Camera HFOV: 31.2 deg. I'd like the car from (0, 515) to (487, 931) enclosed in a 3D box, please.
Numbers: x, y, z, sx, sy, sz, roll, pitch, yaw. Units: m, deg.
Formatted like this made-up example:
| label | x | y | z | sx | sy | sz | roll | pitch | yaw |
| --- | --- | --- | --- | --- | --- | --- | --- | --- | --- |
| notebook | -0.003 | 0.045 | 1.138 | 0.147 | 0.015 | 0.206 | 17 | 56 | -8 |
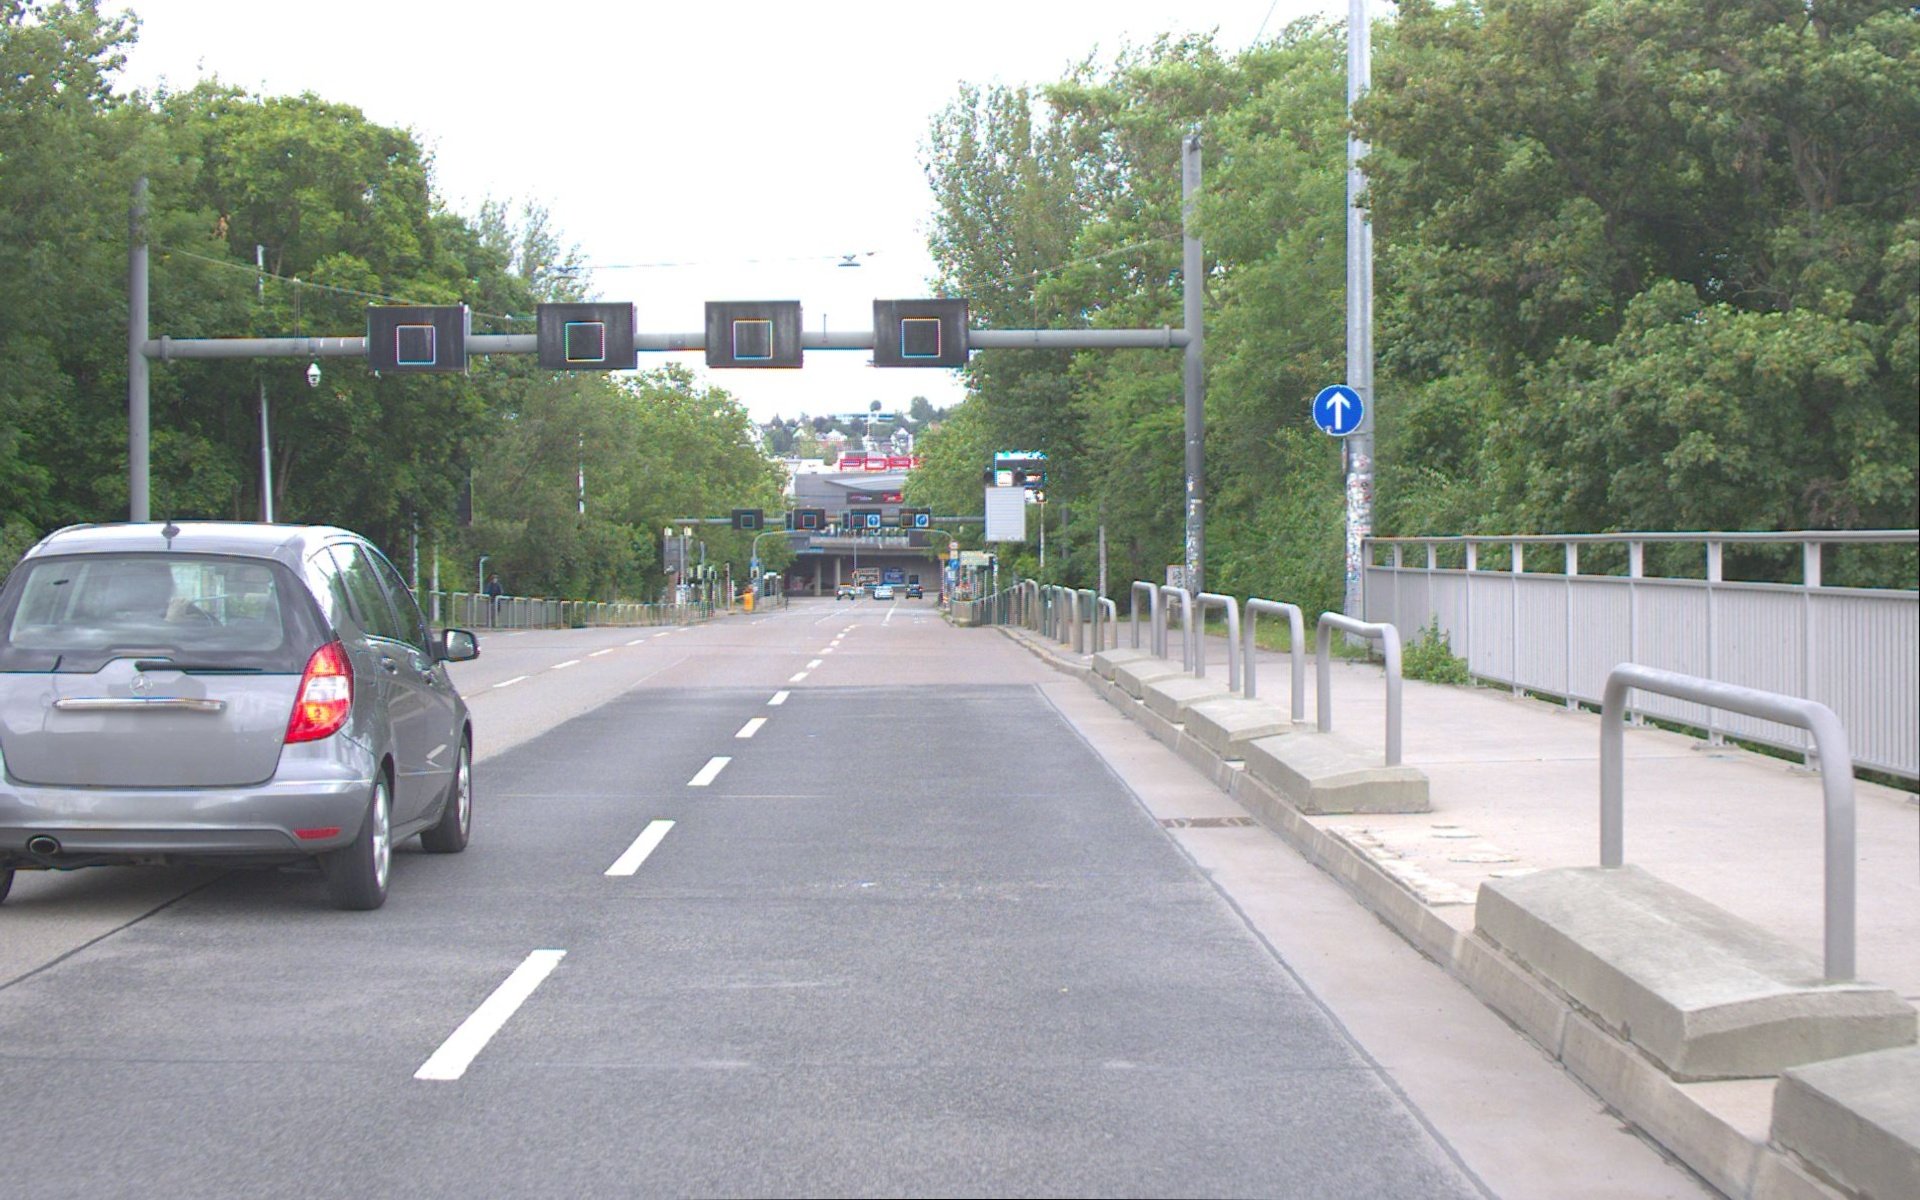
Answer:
| label | x | y | z | sx | sy | sz | roll | pitch | yaw |
| --- | --- | --- | --- | --- | --- | --- | --- | --- | --- |
| car | -3.168 | 0.423 | 15.020 | 1.745 | 1.545 | 3.872 | 0 | 2 | -1 |
